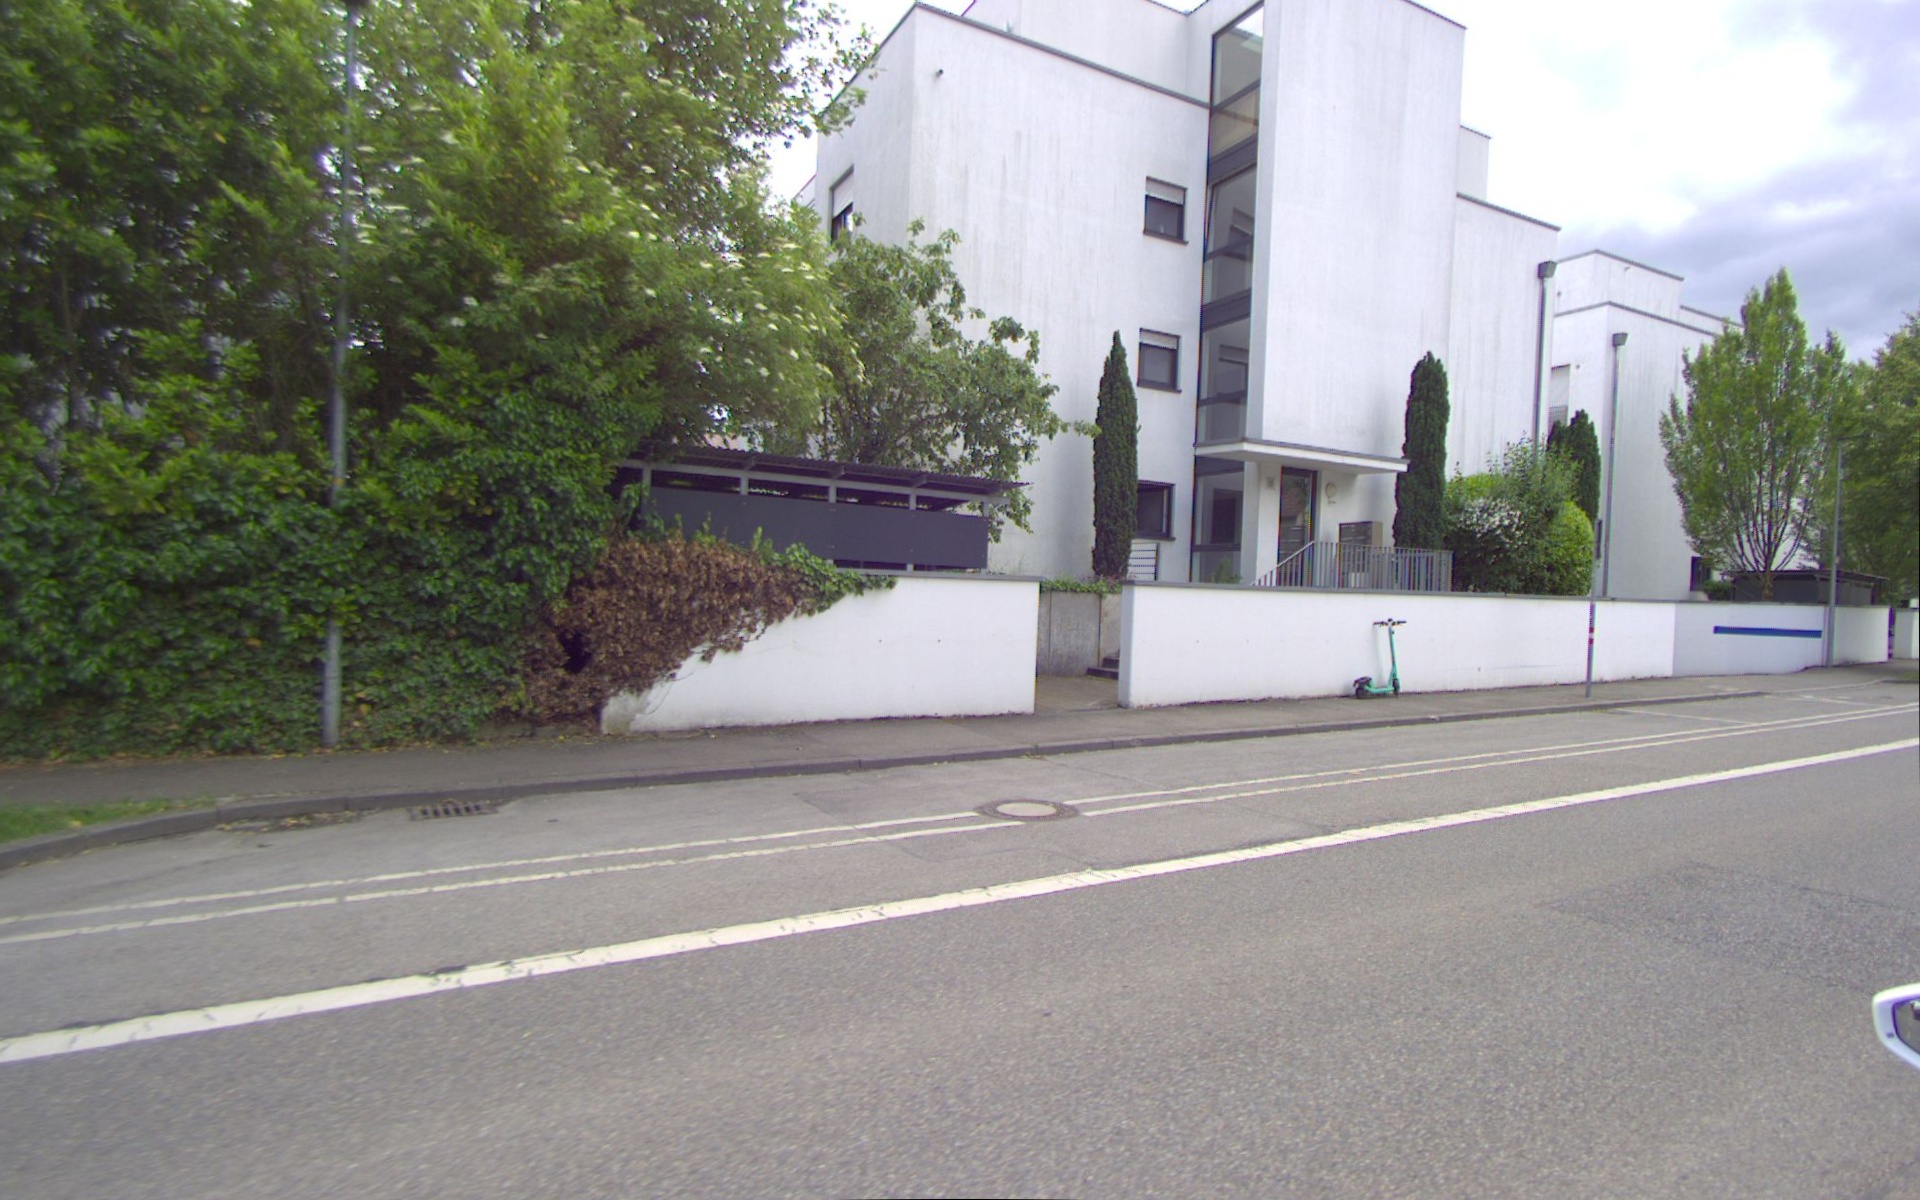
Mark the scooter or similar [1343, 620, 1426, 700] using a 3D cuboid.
[{"bbox_3d":[6.479,0.894,15.313,1.287,1.170,0.499,1,0,-32],"label":"scooter or similar"}]
